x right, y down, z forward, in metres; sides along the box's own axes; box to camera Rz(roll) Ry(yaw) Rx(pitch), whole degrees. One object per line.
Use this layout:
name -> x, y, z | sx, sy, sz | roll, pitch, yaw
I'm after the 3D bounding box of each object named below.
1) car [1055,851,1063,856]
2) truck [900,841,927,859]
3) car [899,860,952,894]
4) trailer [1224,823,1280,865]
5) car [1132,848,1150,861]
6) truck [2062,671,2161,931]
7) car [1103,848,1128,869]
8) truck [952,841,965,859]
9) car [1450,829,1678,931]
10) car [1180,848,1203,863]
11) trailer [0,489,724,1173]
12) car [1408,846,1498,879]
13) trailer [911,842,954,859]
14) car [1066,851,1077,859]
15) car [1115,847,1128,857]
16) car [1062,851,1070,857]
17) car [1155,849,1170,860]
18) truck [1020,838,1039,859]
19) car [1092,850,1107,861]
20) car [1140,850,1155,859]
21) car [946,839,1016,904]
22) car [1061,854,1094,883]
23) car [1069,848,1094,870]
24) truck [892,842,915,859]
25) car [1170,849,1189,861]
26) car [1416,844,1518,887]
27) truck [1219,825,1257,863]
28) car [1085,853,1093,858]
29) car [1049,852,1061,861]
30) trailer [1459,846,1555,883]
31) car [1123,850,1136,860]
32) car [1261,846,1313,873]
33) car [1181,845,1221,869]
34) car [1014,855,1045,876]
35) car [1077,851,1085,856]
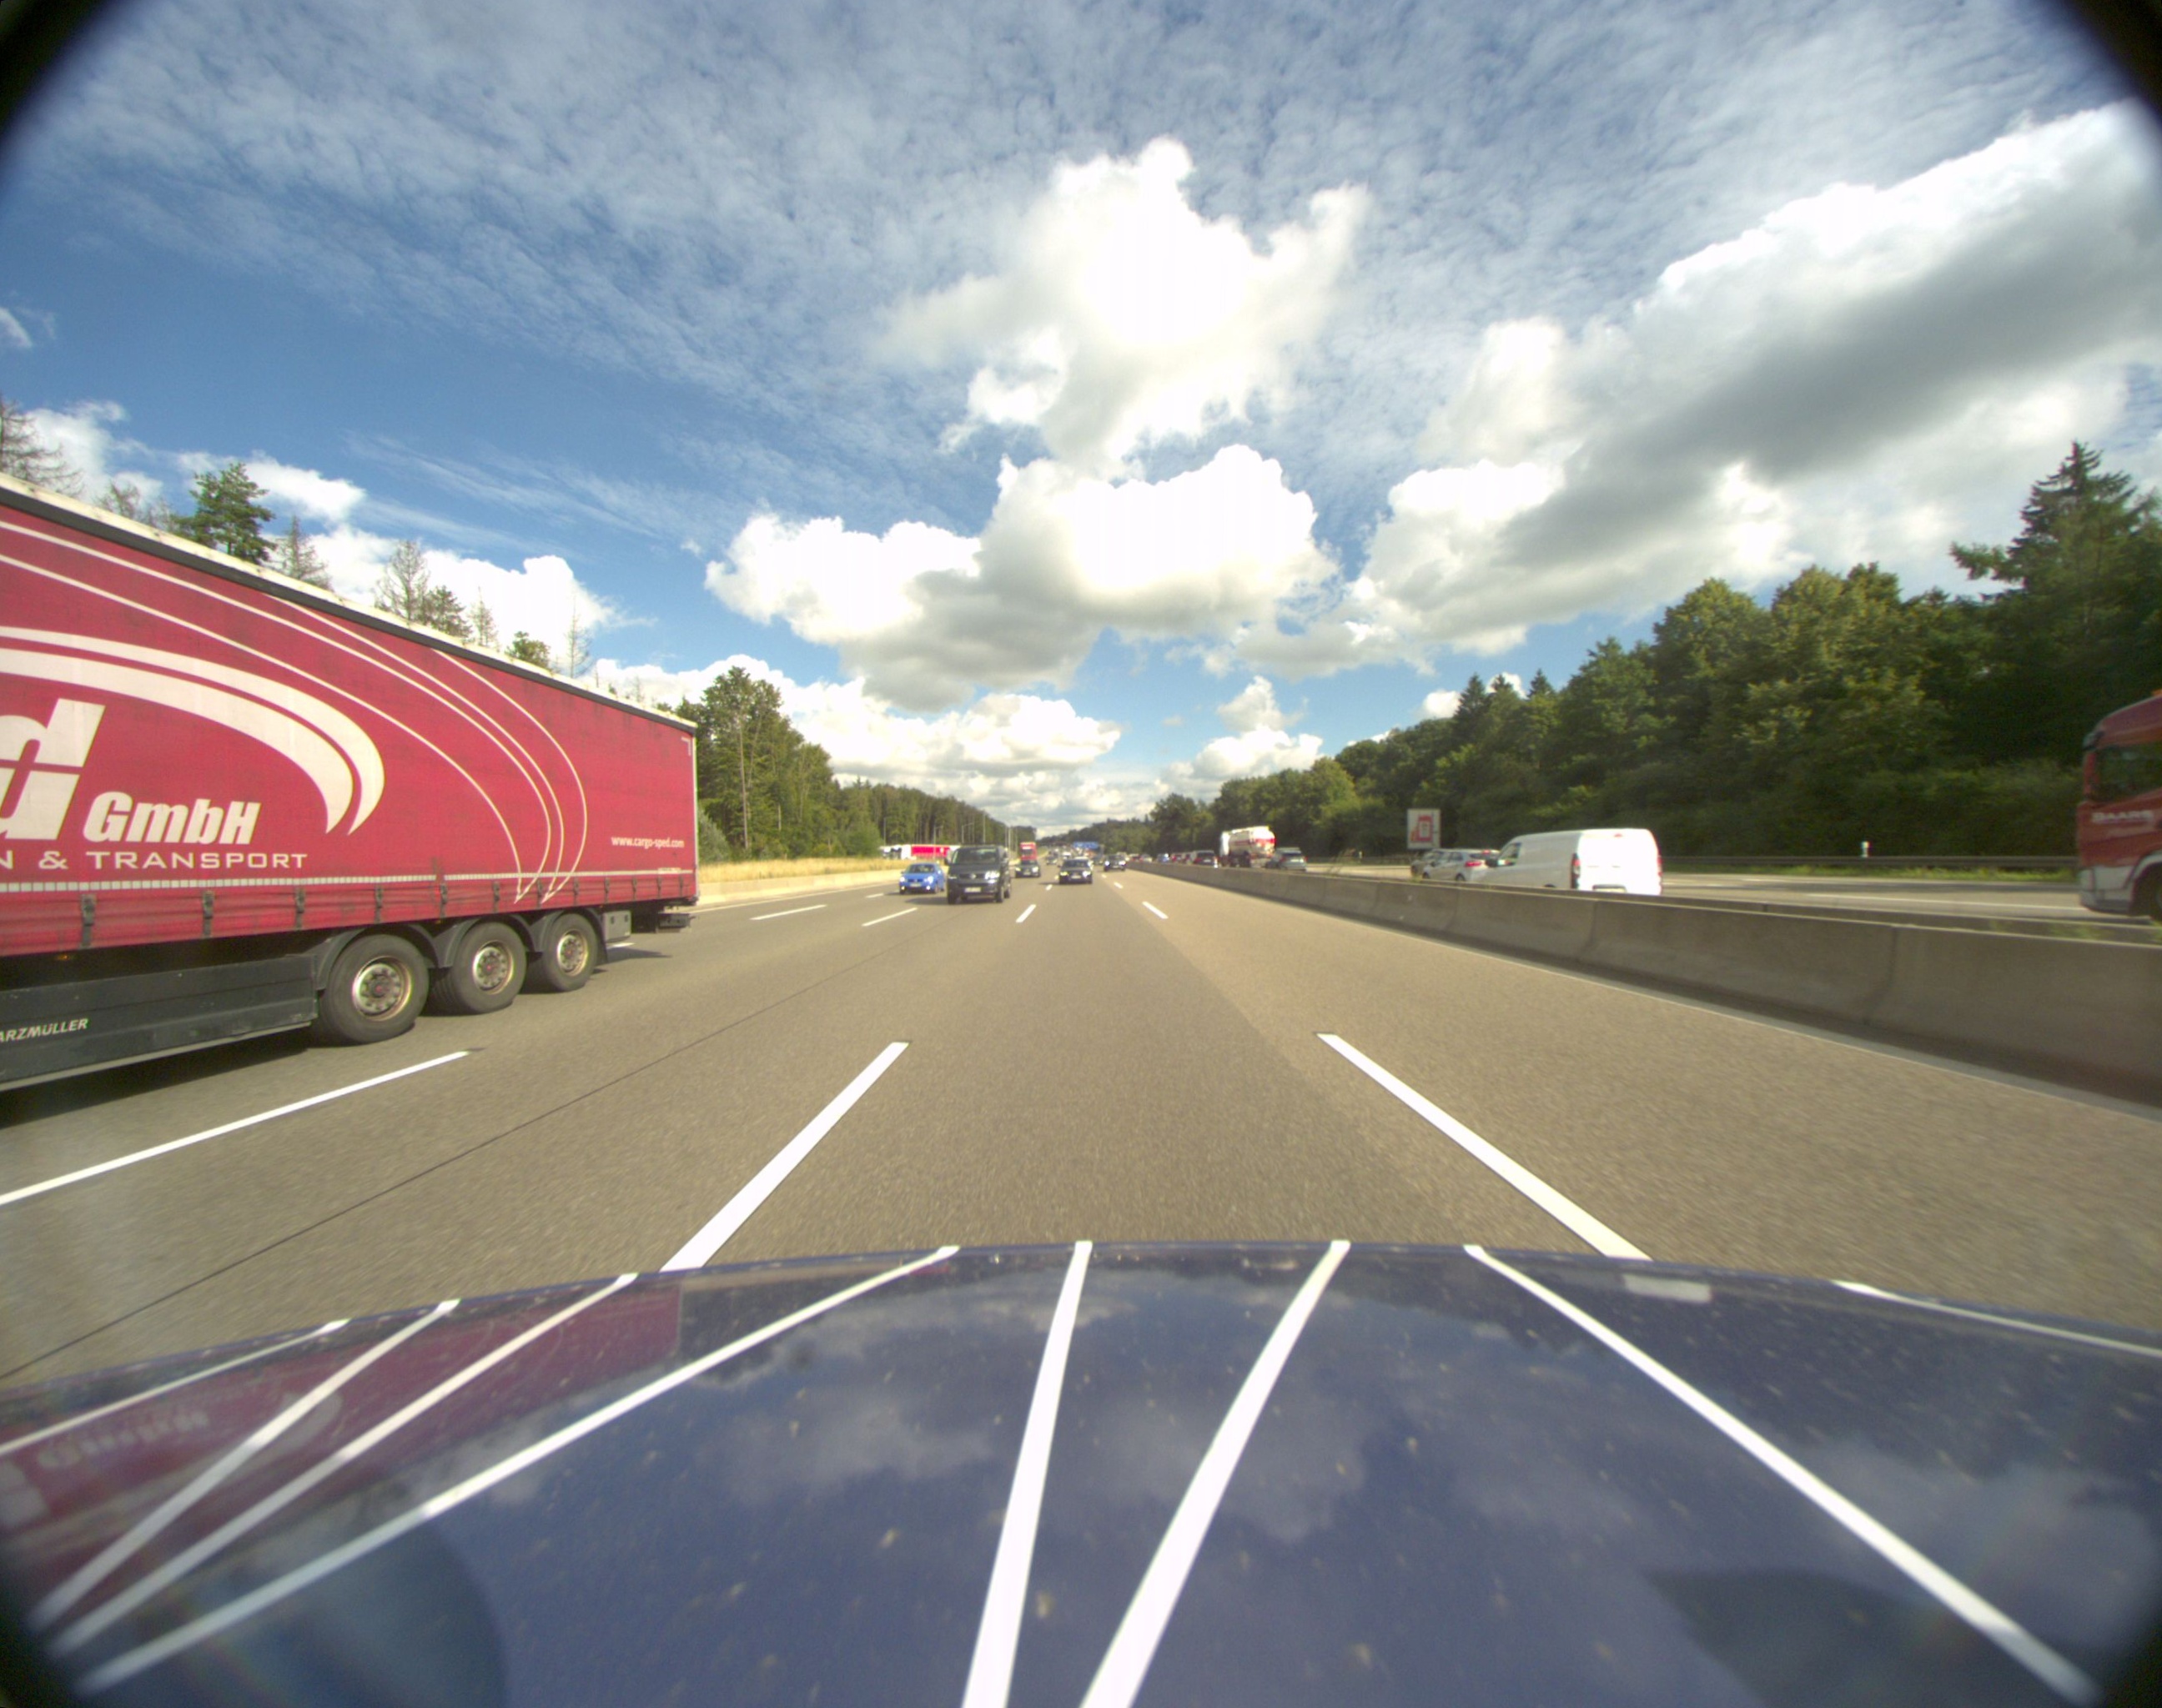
car -> -6.231, -0.181, 218.413 | 2.153, 1.540, 4.676 | -2, 0, -1
truck -> -43.861, -0.981, 198.933 | 2.873, 4.481, 6.109 | -1, 1, 45
car -> -7.187, 1.026, 35.519 | 1.654, 1.433, 4.000 | -2, 0, 0
trailer -> 17.193, -0.964, 77.196 | 2.795, 3.922, 12.251 | -2, 0, 0
car -> 8.999, 0.114, 114.475 | 2.177, 1.867, 4.980 | 0, 0, -1
truck -> 17.402, -0.803, 8.956 | 2.974, 3.835, 6.764 | -2, 0, 1
car -> 3.260, 0.408, 72.727 | 2.153, 1.800, 5.098 | -2, 1, 0
truck -> -30.235, -0.992, 187.878 | 2.880, 4.480, 7.172 | 0, 0, -7
car -> 9.964, 0.475, 16.204 | 1.854, 1.867, 4.615 | 0, 0, -1
car -> 12.858, 0.145, 88.485 | 1.860, 1.660, 5.210 | -2, 0, -1
trailer -> -7.743, -0.118, 6.521 | 2.781, 4.021, 13.712 | -2, 0, 0
car -> 17.427, 0.368, 35.906 | 1.832, 1.406, 4.674 | -2, 0, -2
trailer -> -39.609, -1.036, 203.176 | 11.406, 4.348, 2.837 | -2, 1, -45
car -> -2.078, 0.170, 161.829 | 2.153, 1.540, 4.676 | -2, 0, -1
car -> 8.236, -0.436, 154.767 | 2.165, 2.002, 5.821 | 0, 0, -1
car -> -3.845, 0.004, 195.316 | 2.153, 1.540, 4.676 | -2, 0, -1
car -> 12.438, 0.062, 115.912 | 1.633, 1.503, 3.998 | -1, 1, -3
truck -> -9.196, -1.008, 136.238 | 3.018, 3.662, 7.559 | -1, 0, -2
car -> 2.804, 0.171, 116.286 | 2.153, 1.540, 4.676 | -2, 0, -1
car -> 12.124, 0.102, 138.902 | 1.999, 1.476, 5.130 | -2, 0, -1
car -> -3.514, 0.578, 27.524 | 1.854, 2.097, 4.932 | -2, 0, -1
car -> -0.208, 0.769, 42.878 | 1.733, 1.500, 4.727 | -2, 0, -1
car -> 0.047, 0.439, 69.159 | 2.153, 1.800, 5.098 | -2, 1, 1
truck -> -47.054, -0.937, 201.159 | 2.888, 4.482, 5.133 | 0, 1, 45
car -> 13.291, 0.117, 102.874 | 1.864, 1.610, 4.747 | -2, 0, -1
car -> 13.630, 0.379, 27.077 | 1.607, 1.395, 4.000 | -2, 0, 1
truck -> 17.136, -1.035, 83.268 | 2.795, 3.922, 6.445 | -2, 0, 0
car -> 2.299, 0.409, 227.158 | 2.153, 1.540, 4.676 | -2, 0, -1
car -> -4.939, 0.490, 144.296 | 2.153, 1.540, 4.676 | -2, 0, -1
trailer -> 17.524, 0.399, 31.483 | 1.538, 1.394, 4.179 | -2, 0, -1
car -> 8.670, 0.137, 135.367 | 1.918, 1.631, 4.241 | -2, 0, -1
car -> 13.625, 0.327, 50.532 | 1.999, 1.654, 4.686 | -2, 0, -1
car -> 9.259, 0.218, 59.105 | 2.160, 1.690, 5.349 | -2, 0, -1
car -> -3.938, 0.864, 58.722 | 2.153, 1.426, 5.098 | -2, 0, -1
car -> -0.047, -0.115, 219.315 | 2.153, 1.540, 4.676 | -2, 0, -1
